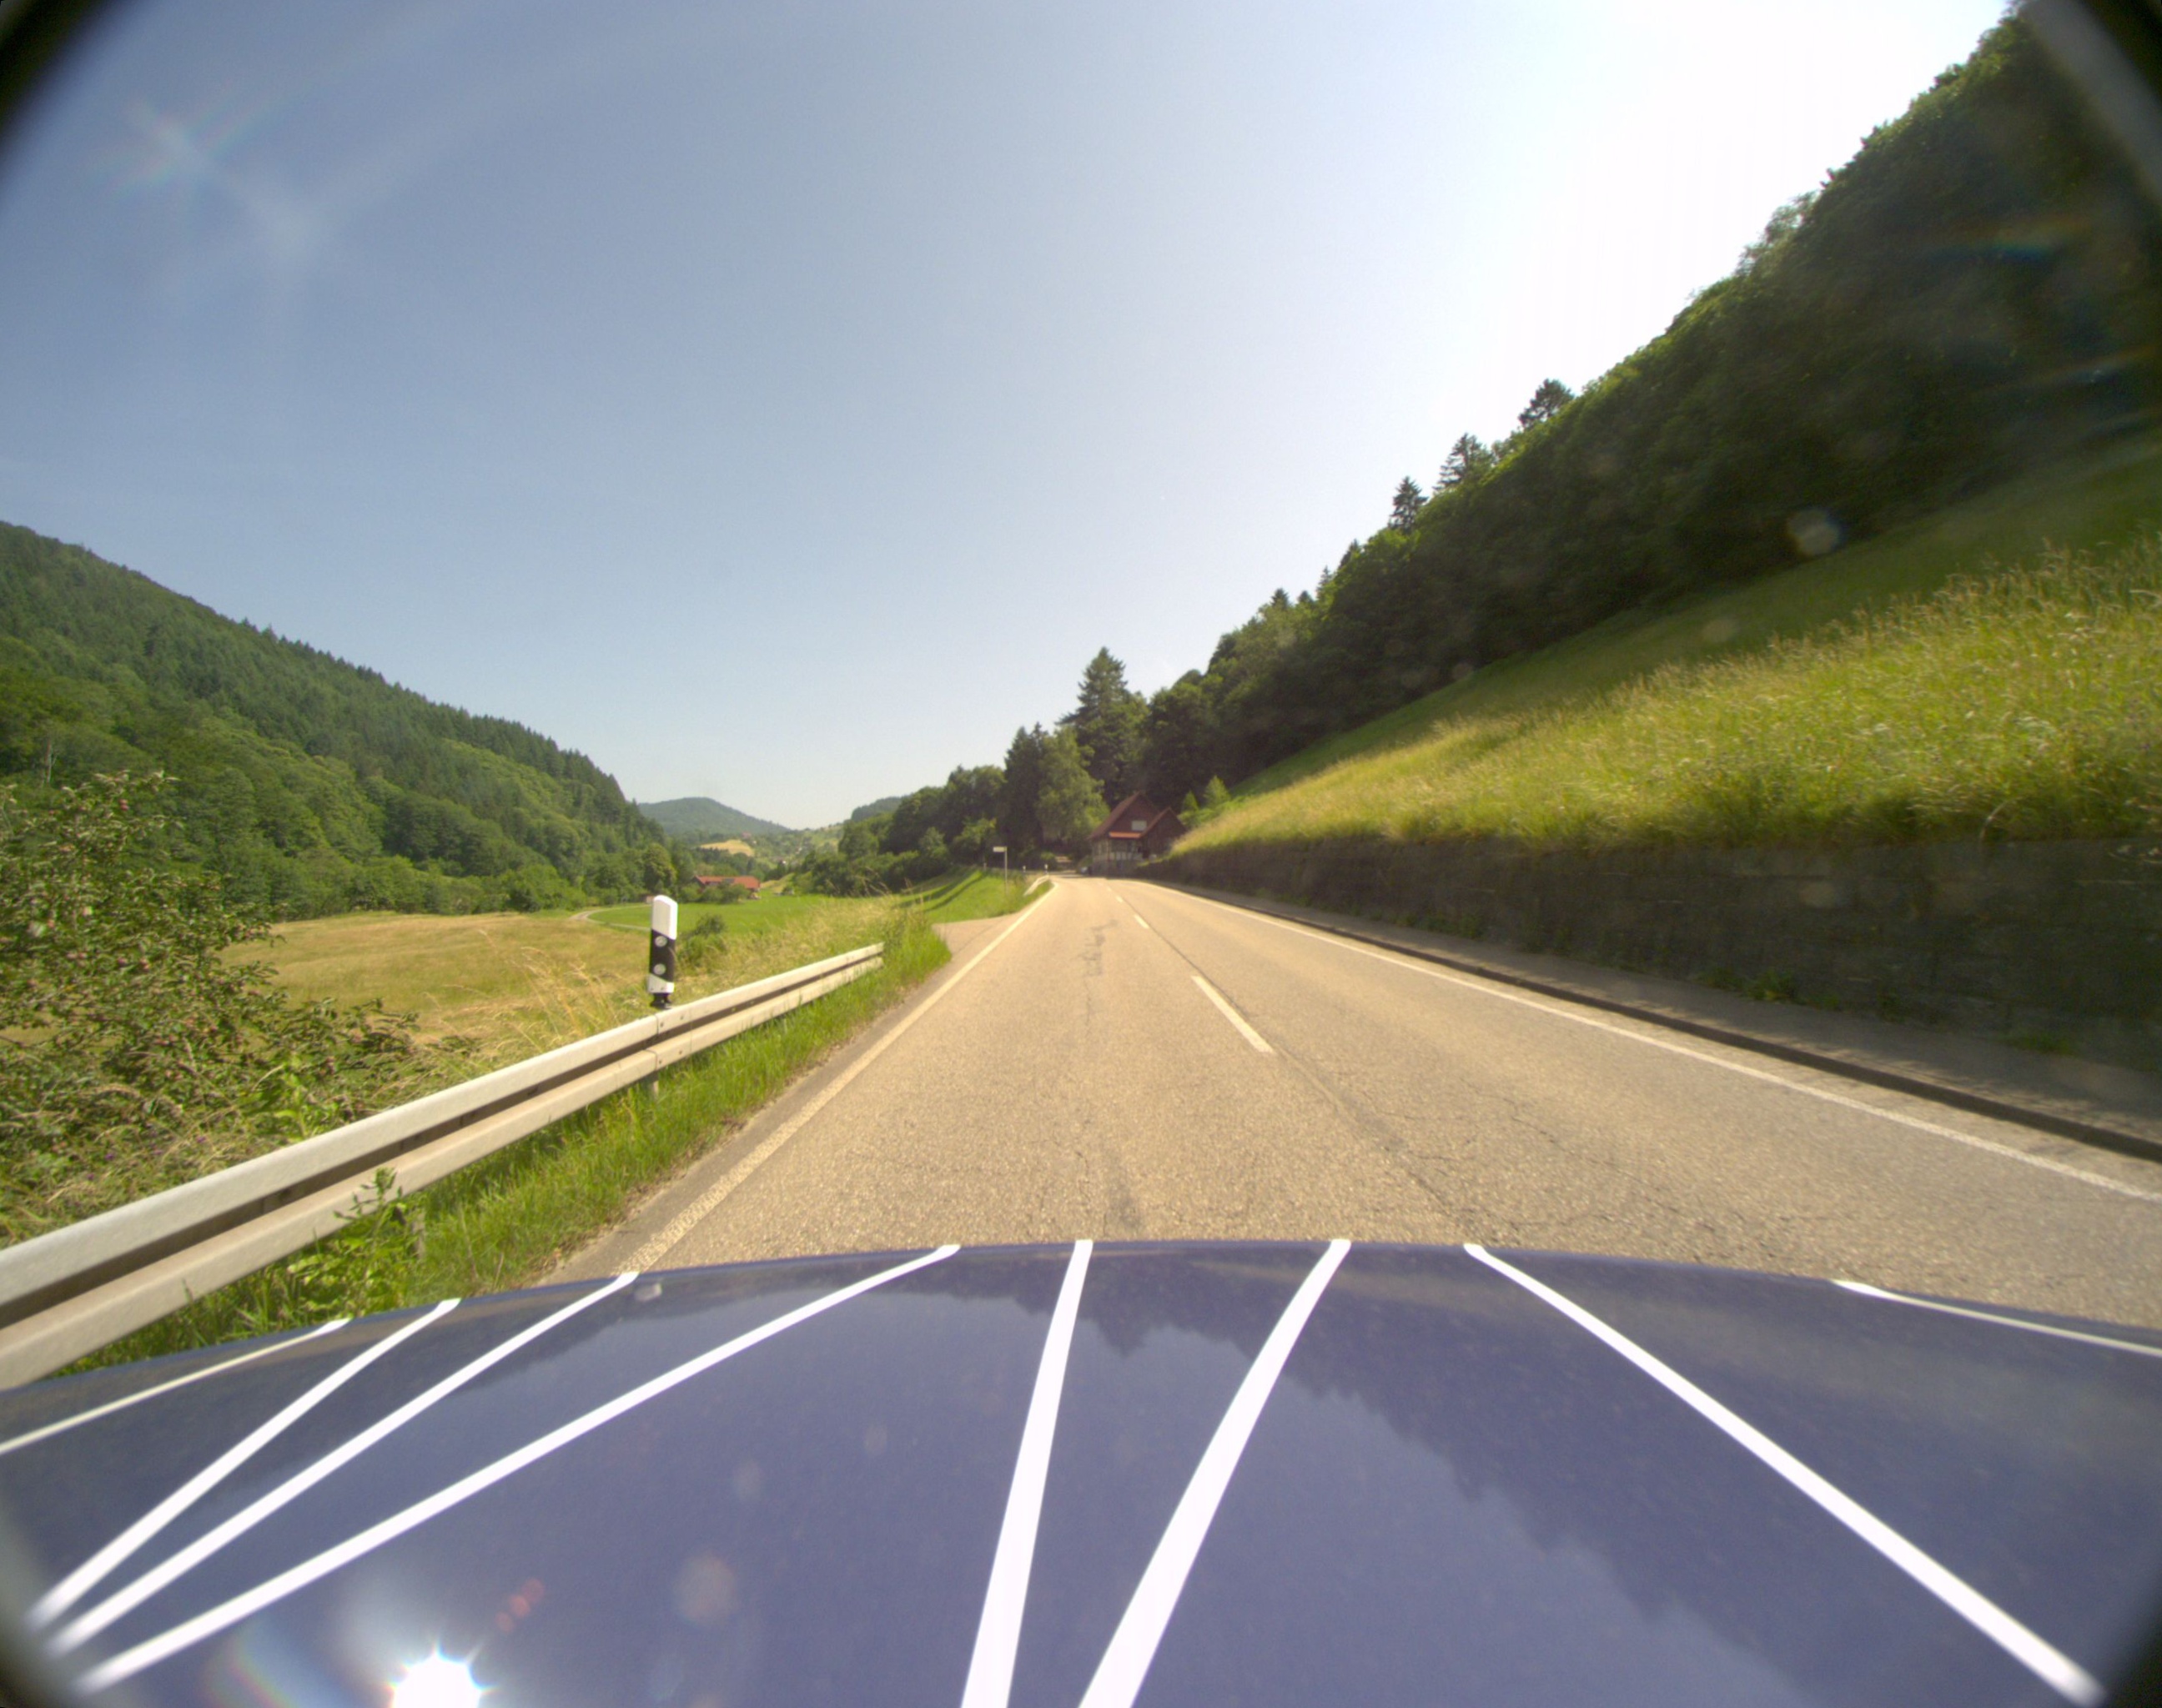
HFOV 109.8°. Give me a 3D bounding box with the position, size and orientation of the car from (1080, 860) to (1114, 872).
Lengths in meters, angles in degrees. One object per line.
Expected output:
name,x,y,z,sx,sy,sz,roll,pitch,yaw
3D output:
car,1.939,1.436,93.657,3.830,1.408,1.855,-1,-1,-14

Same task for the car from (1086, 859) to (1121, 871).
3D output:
car,2.750,1.347,91.574,3.830,1.424,1.861,1,1,-14

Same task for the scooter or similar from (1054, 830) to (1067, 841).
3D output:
scooter or similar,-3.960,-3.558,148.386,1.984,2.015,4.402,-5,1,-7
